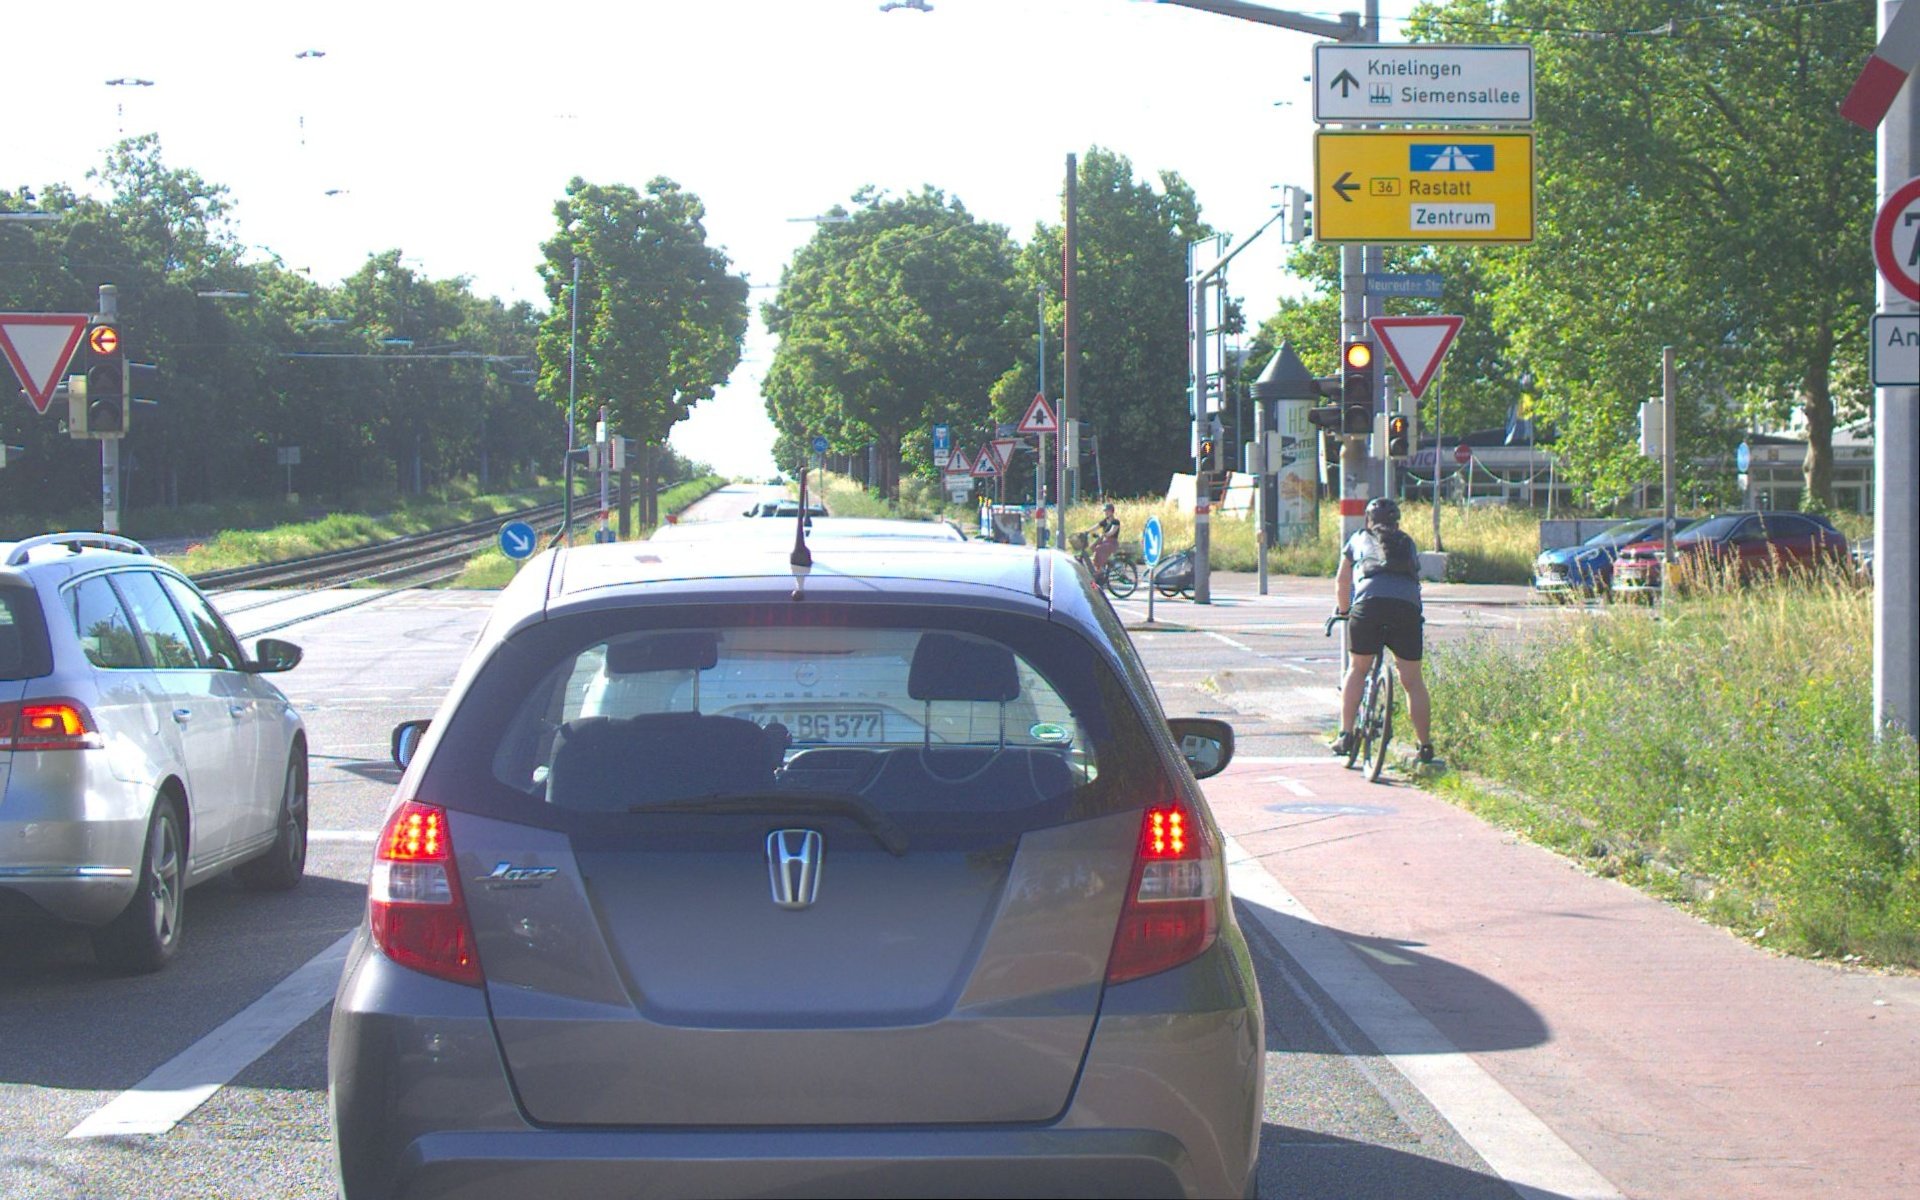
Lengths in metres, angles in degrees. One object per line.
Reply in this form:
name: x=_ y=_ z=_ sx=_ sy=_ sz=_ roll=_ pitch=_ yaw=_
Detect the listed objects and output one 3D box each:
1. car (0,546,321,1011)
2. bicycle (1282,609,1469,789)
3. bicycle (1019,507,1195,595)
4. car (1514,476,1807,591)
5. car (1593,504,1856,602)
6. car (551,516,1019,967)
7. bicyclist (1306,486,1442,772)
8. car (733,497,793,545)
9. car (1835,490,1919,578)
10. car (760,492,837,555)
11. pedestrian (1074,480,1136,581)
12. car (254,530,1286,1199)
car: x=-3.532 y=0.527 z=12.788 sx=1.619 sy=1.452 sz=4.085 roll=1 pitch=1 yaw=-1
bicycle: x=2.528 y=0.574 z=21.258 sx=0.722 sy=0.985 sz=2.876 roll=1 pitch=1 yaw=-1
bicycle: x=2.700 y=-0.907 z=62.909 sx=3.203 sy=1.569 sz=0.821 roll=-1 pitch=1 yaw=-25
car: x=12.278 y=-1.147 z=60.261 sx=4.686 sy=1.873 sz=2.001 roll=1 pitch=1 yaw=-23
car: x=12.450 y=-0.778 z=55.977 sx=3.986 sy=1.525 sz=1.606 roll=-1 pitch=1 yaw=-23
car: x=-0.649 y=0.448 z=14.005 sx=1.611 sy=1.557 sz=4.288 roll=0 pitch=1 yaw=-1
bicyclist: x=2.540 y=0.171 z=21.173 sx=0.666 sy=1.710 sz=0.948 roll=1 pitch=0 yaw=-1
car: x=-5.704 y=-2.277 z=99.302 sx=1.522 sy=1.374 sz=3.677 roll=-1 pitch=1 yaw=-7
car: x=18.062 y=-1.226 z=63.116 sx=3.742 sy=1.564 sz=1.491 roll=-1 pitch=1 yaw=-23
car: x=-3.881 y=-1.827 z=82.204 sx=1.709 sy=1.473 sz=4.001 roll=-1 pitch=1 yaw=-5
pedestrian: x=2.642 y=-1.273 z=62.889 sx=0.852 sy=1.830 sz=0.791 roll=-1 pitch=1 yaw=-26
car: x=-0.395 y=0.581 z=7.370 sx=1.668 sy=1.457 sz=3.587 roll=0 pitch=1 yaw=-3
